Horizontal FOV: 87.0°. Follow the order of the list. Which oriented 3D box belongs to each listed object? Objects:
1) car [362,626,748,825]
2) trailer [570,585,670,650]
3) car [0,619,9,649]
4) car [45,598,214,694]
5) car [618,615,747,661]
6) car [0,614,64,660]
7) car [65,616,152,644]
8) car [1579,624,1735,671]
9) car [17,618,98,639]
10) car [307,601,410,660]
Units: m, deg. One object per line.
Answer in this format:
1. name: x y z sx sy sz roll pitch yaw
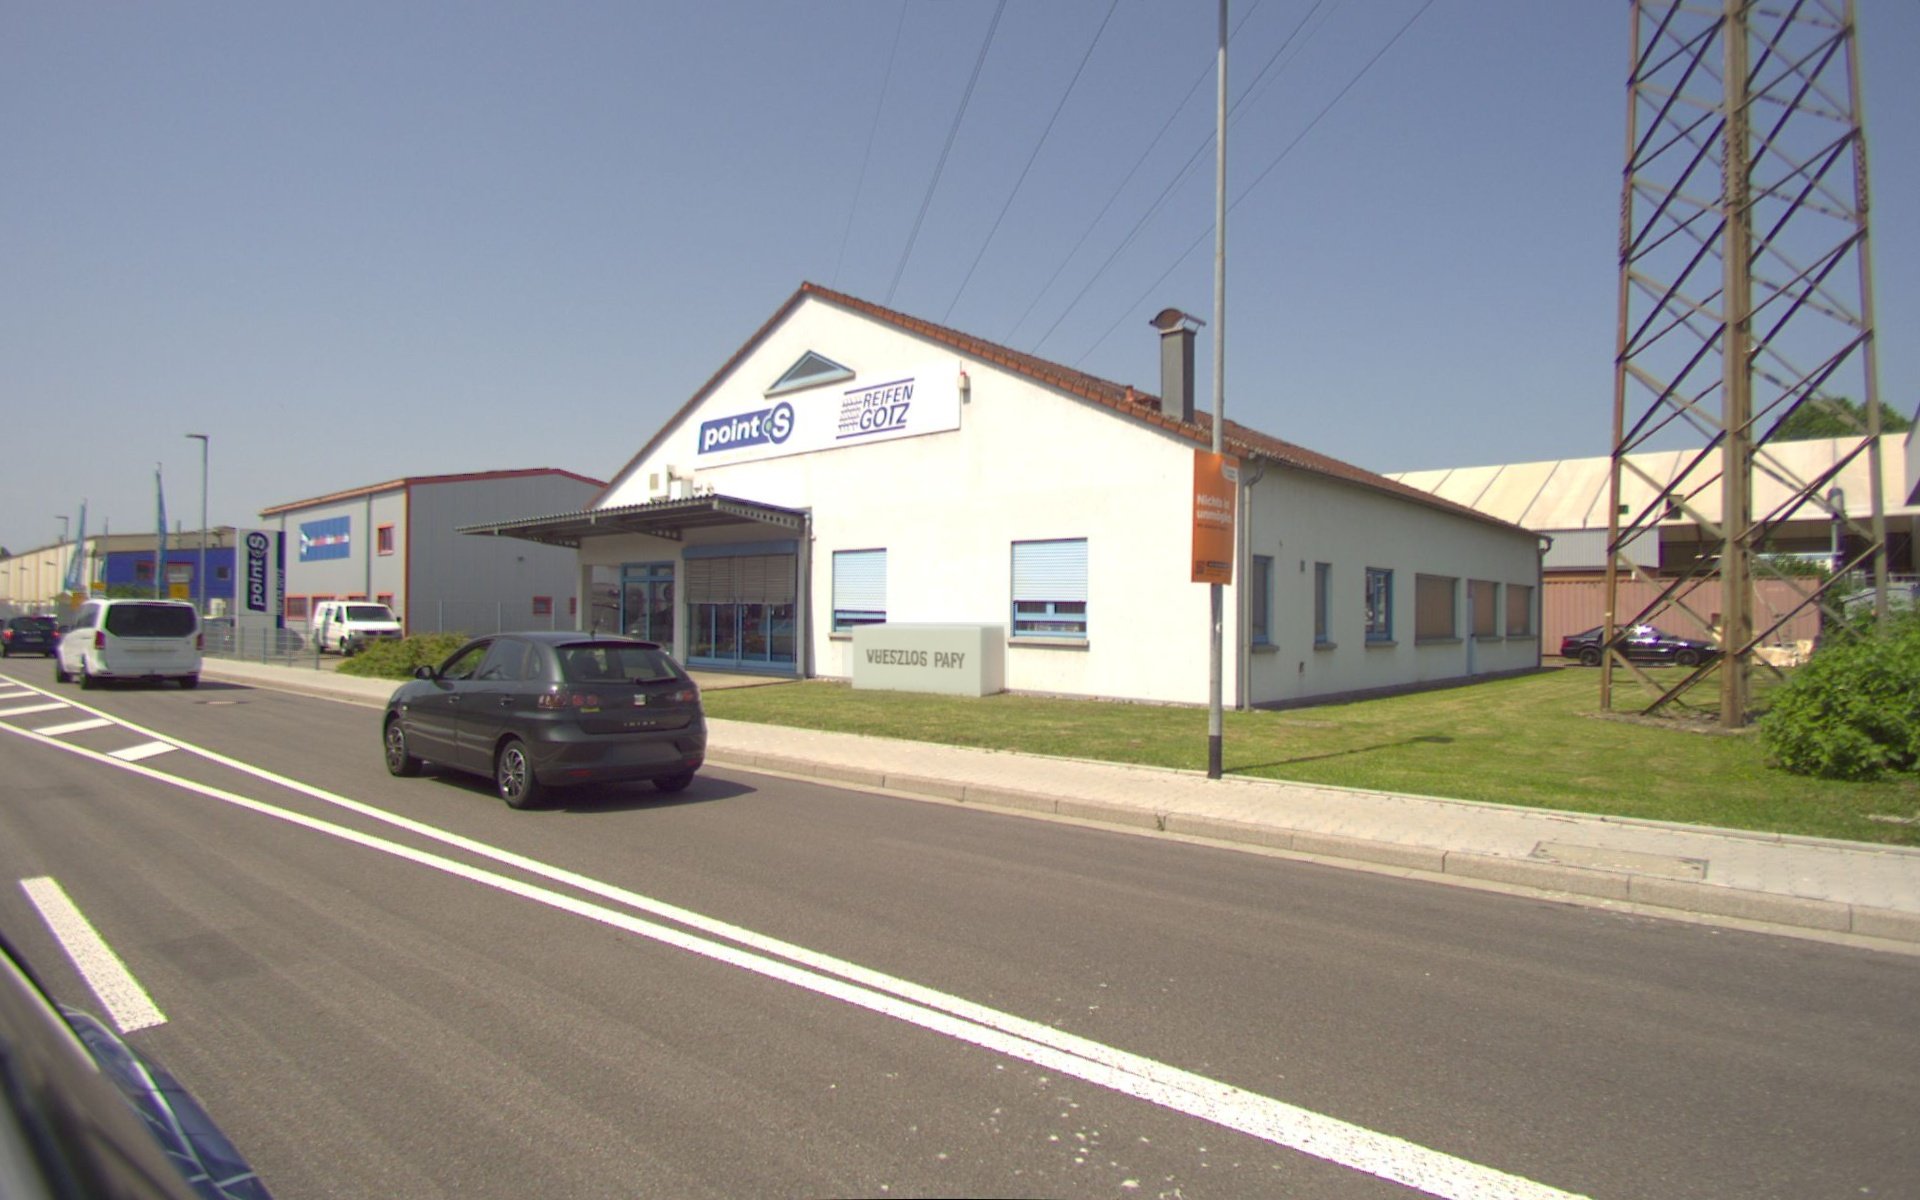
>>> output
1. car: -3.865 0.990 9.341 3.998 1.434 1.653 -1 -4 41
2. trailer: -15.776 0.769 46.813 5.122 2.870 2.139 0 0 41
3. car: -48.297 1.648 49.861 4.259 1.477 1.745 -1 -4 43
4. car: -18.341 0.938 22.261 5.167 1.888 1.973 0 -2 41
5. car: -9.559 1.303 35.017 1.785 1.497 3.941 -2 -3 44
6. car: -34.526 1.346 37.347 3.971 1.612 1.651 -1 -4 42
7. car: -47.589 1.671 56.641 1.576 1.476 3.469 0 -1 16
8. car: 22.574 1.514 32.867 3.998 1.434 1.653 -1 -4 41
9. car: -65.651 2.082 73.715 4.090 1.514 1.781 1 -2 -28
10. car: -22.341 1.090 37.519 4.680 2.029 1.972 0 -2 43
